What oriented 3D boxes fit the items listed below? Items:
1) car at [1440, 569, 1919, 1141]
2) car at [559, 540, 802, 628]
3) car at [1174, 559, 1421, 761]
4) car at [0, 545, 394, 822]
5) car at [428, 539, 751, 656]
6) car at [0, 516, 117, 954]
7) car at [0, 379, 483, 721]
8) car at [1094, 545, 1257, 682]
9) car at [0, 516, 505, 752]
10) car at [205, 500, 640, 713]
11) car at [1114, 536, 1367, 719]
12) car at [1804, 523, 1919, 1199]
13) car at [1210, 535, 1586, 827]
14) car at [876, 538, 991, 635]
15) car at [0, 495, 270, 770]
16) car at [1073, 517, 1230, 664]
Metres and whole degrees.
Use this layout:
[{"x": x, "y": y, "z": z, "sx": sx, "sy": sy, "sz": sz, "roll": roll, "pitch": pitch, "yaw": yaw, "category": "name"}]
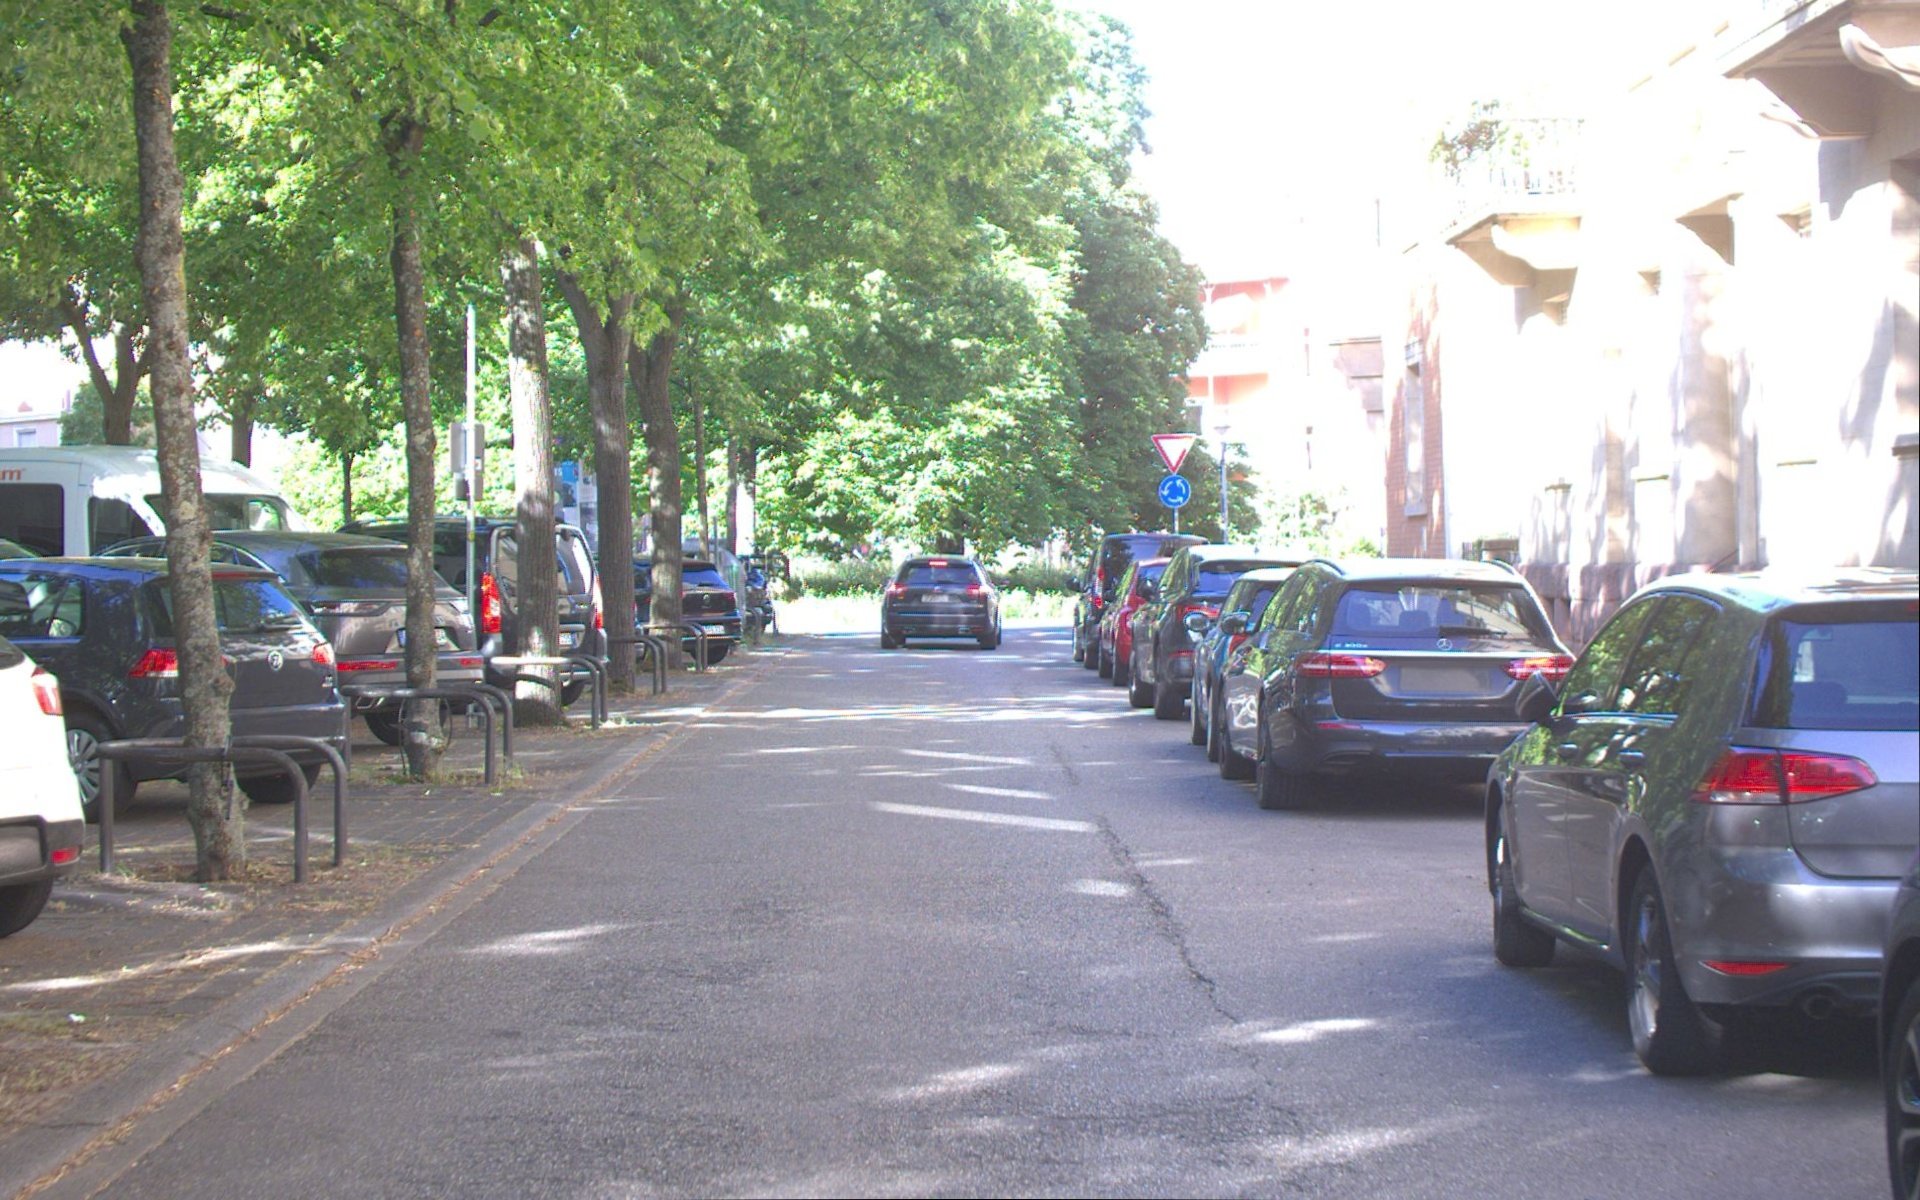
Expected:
[{"x": 2.680, "y": 0.656, "z": 11.032, "sx": 1.692, "sy": 1.463, "sz": 4.005, "roll": 0, "pitch": 1, "yaw": 0, "category": "car"}, {"x": -4.852, "y": -0.270, "z": 59.359, "sx": 4.138, "sy": 1.476, "sz": 1.772, "roll": 0, "pitch": 0, "yaw": 40, "category": "car"}, {"x": 2.552, "y": 0.413, "z": 26.660, "sx": 1.590, "sy": 1.410, "sz": 3.632, "roll": 1, "pitch": 1, "yaw": 1, "category": "car"}, {"x": -5.481, "y": 0.436, "z": 20.064, "sx": 4.102, "sy": 1.476, "sz": 1.729, "roll": 0, "pitch": 0, "yaw": 29, "category": "car"}, {"x": -4.772, "y": -0.030, "z": 44.741, "sx": 4.088, "sy": 1.461, "sz": 1.867, "roll": 0, "pitch": 0, "yaw": -3, "category": "car"}, {"x": -5.250, "y": 0.470, "z": 13.045, "sx": 3.687, "sy": 1.590, "sz": 1.770, "roll": 1, "pitch": 1, "yaw": 25, "category": "car"}, {"x": -7.478, "y": -0.312, "z": 30.617, "sx": 6.075, "sy": 2.614, "sz": 2.451, "roll": -5, "pitch": -1, "yaw": 32, "category": "car"}, {"x": 2.584, "y": 0.125, "z": 41.967, "sx": 1.645, "sy": 1.532, "sz": 4.000, "roll": 2, "pitch": 1, "yaw": -1, "category": "car"}, {"x": -5.672, "y": 0.200, "z": 25.945, "sx": 4.269, "sy": 1.636, "sz": 1.653, "roll": 1, "pitch": 1, "yaw": 28, "category": "car"}, {"x": -5.164, "y": 0.037, "z": 32.916, "sx": 3.846, "sy": 1.882, "sz": 1.840, "roll": 0, "pitch": 3, "yaw": 35, "category": "car"}, {"x": 2.649, "y": 0.212, "z": 33.469, "sx": 1.864, "sy": 1.638, "sz": 4.492, "roll": 1, "pitch": 1, "yaw": -3, "category": "car"}, {"x": 2.884, "y": 0.651, "z": 5.853, "sx": 1.767, "sy": 1.546, "sz": 4.184, "roll": 1, "pitch": 1, "yaw": -1, "category": "car"}, {"x": 2.593, "y": 0.409, "z": 21.273, "sx": 1.805, "sy": 1.558, "sz": 4.321, "roll": -2, "pitch": 1, "yaw": 1, "category": "car"}, {"x": -0.388, "y": -0.243, "z": 54.690, "sx": 1.714, "sy": 1.478, "sz": 4.144, "roll": 0, "pitch": 1, "yaw": 1, "category": "car"}, {"x": -7.175, "y": 0.219, "z": 23.997, "sx": 4.386, "sy": 1.771, "sz": 1.896, "roll": -1, "pitch": 0, "yaw": 27, "category": "car"}, {"x": 2.587, "y": -0.168, "z": 47.311, "sx": 1.801, "sy": 1.864, "sz": 4.273, "roll": 2, "pitch": 1, "yaw": -1, "category": "car"}]
